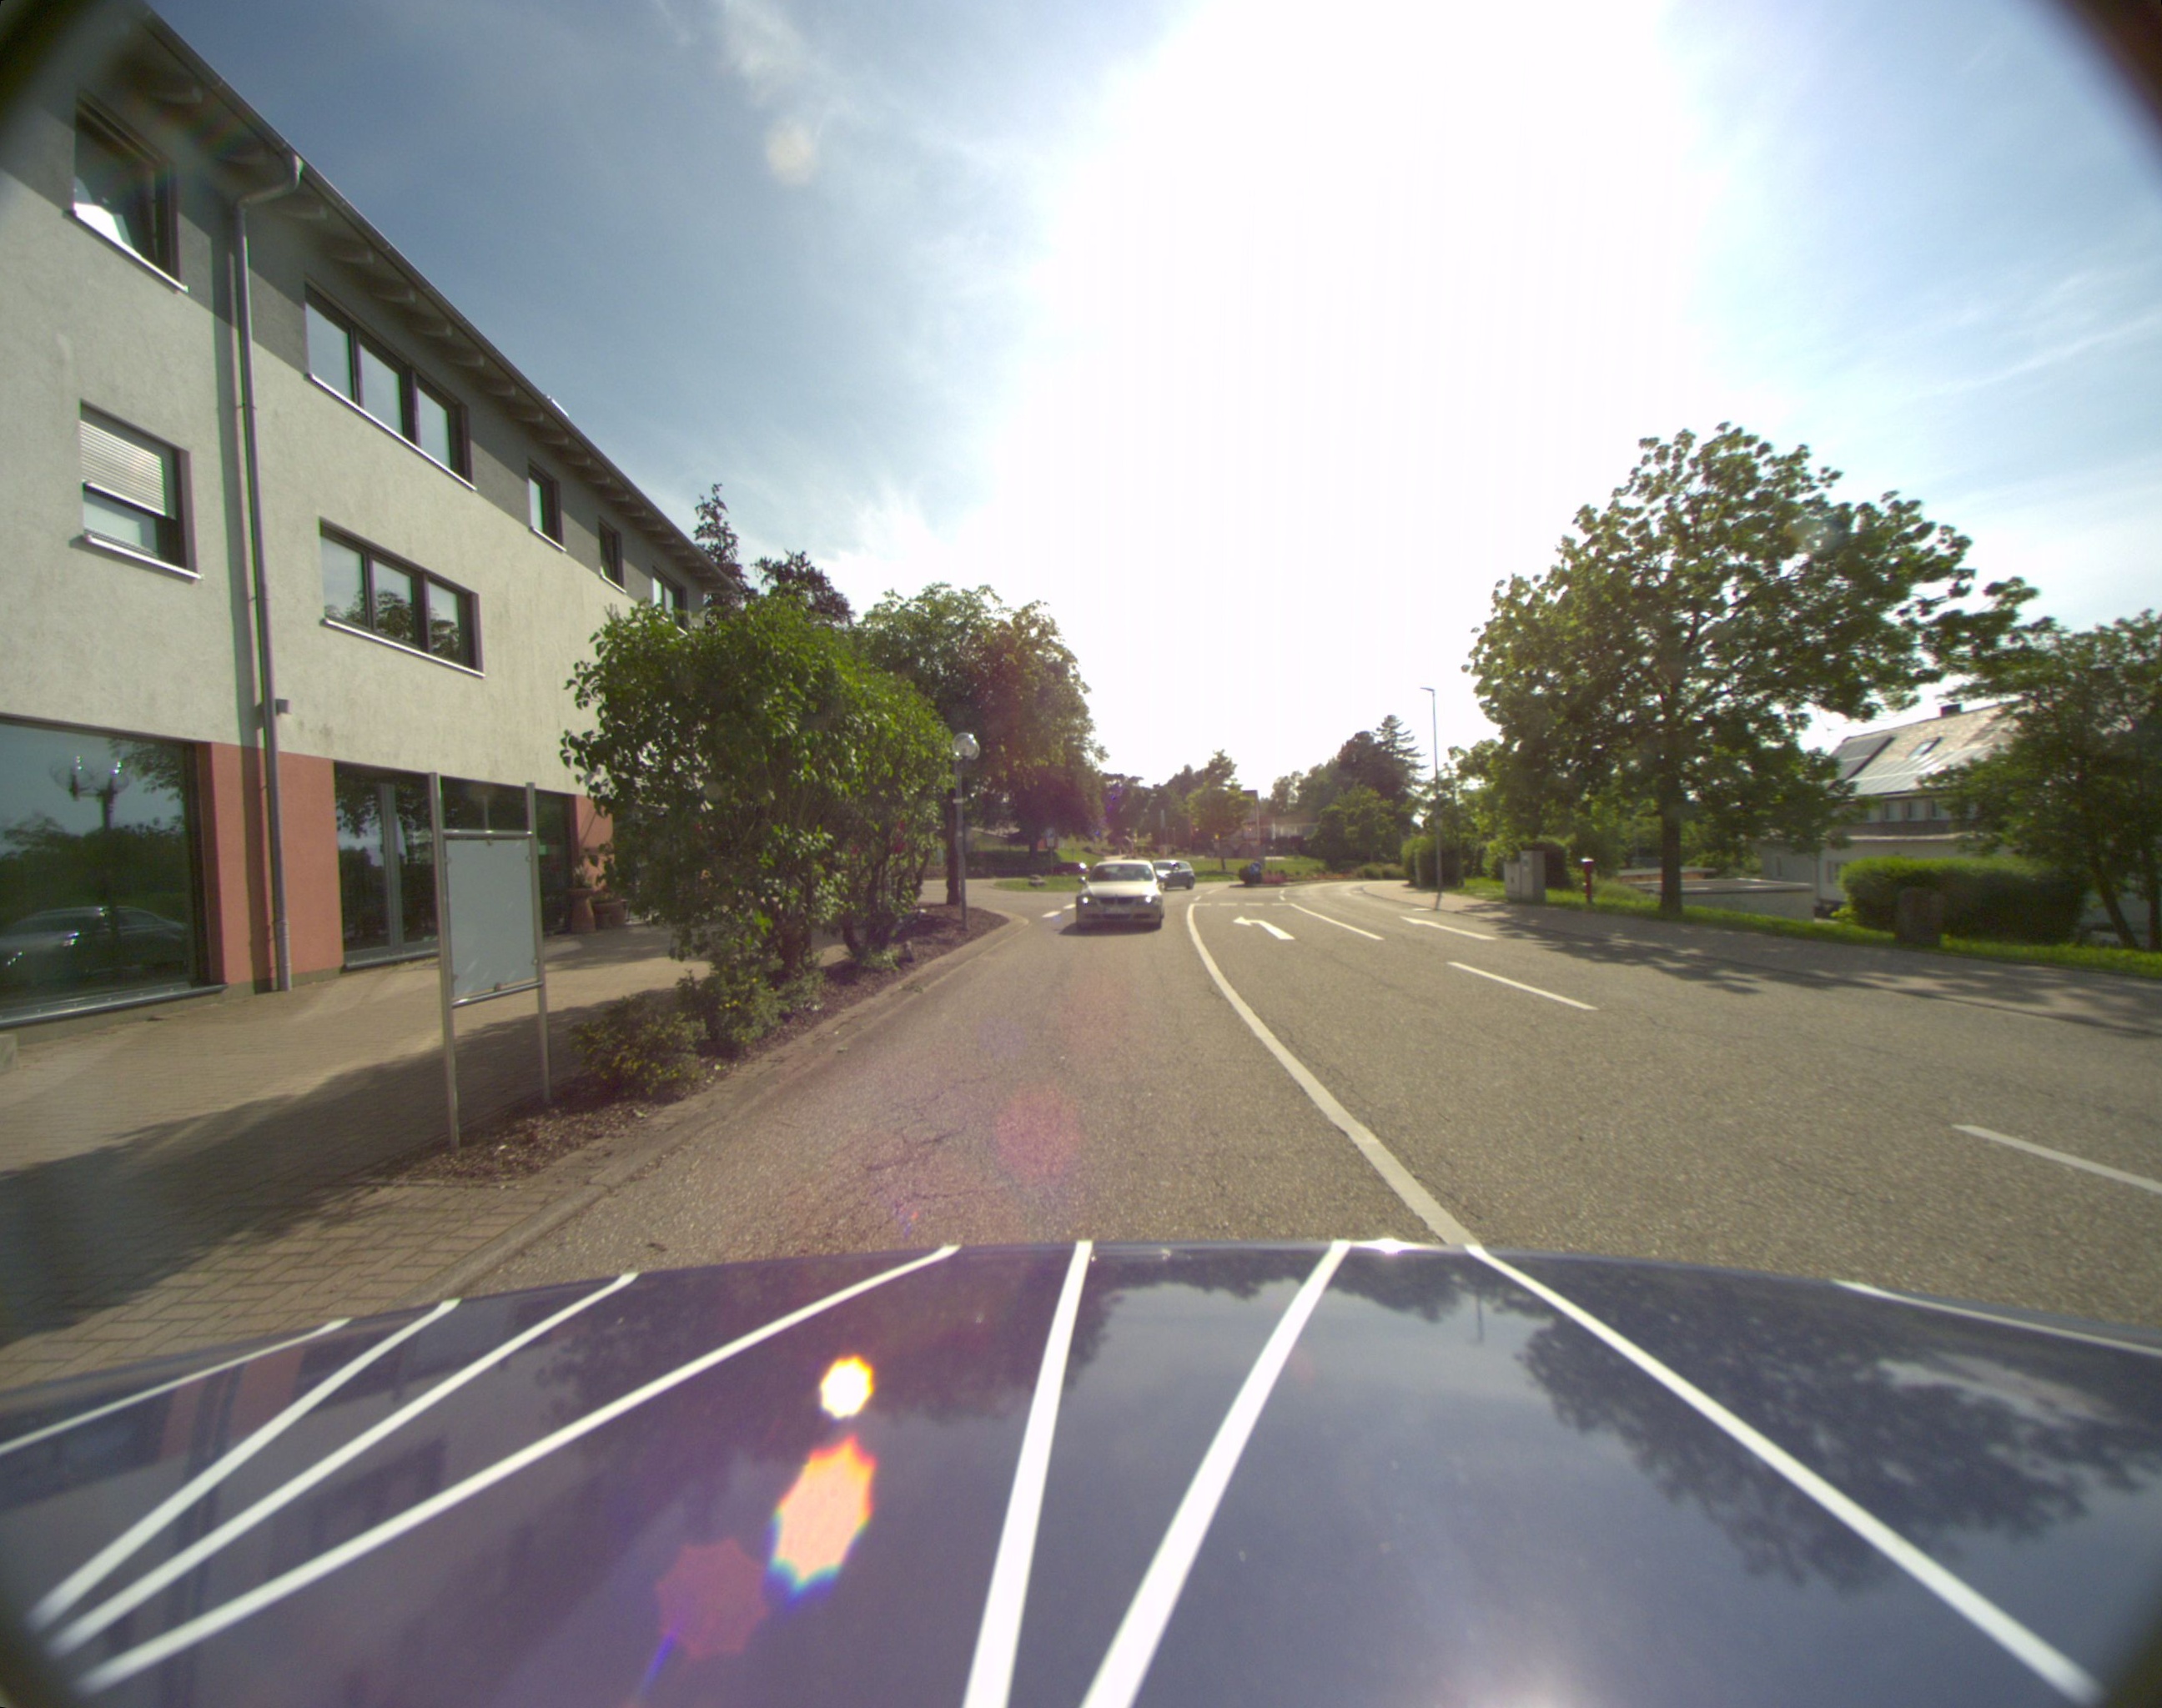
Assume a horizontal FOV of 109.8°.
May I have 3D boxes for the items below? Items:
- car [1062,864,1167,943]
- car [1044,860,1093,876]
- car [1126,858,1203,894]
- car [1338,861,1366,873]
[{"bbox_3d":[0.854,0.927,16.049,1.837,1.360,4.584,0,0,7],"label":"car"},{"bbox_3d":[-1.159,1.257,69.287,4.255,1.420,1.705,0,0,29],"label":"car"},{"bbox_3d":[3.973,0.982,35.696,1.898,1.499,4.009,3,2,34],"label":"car"},{"bbox_3d":[36.154,1.718,101.307,1.716,1.396,3.305,0,2,-22],"label":"car"}]
